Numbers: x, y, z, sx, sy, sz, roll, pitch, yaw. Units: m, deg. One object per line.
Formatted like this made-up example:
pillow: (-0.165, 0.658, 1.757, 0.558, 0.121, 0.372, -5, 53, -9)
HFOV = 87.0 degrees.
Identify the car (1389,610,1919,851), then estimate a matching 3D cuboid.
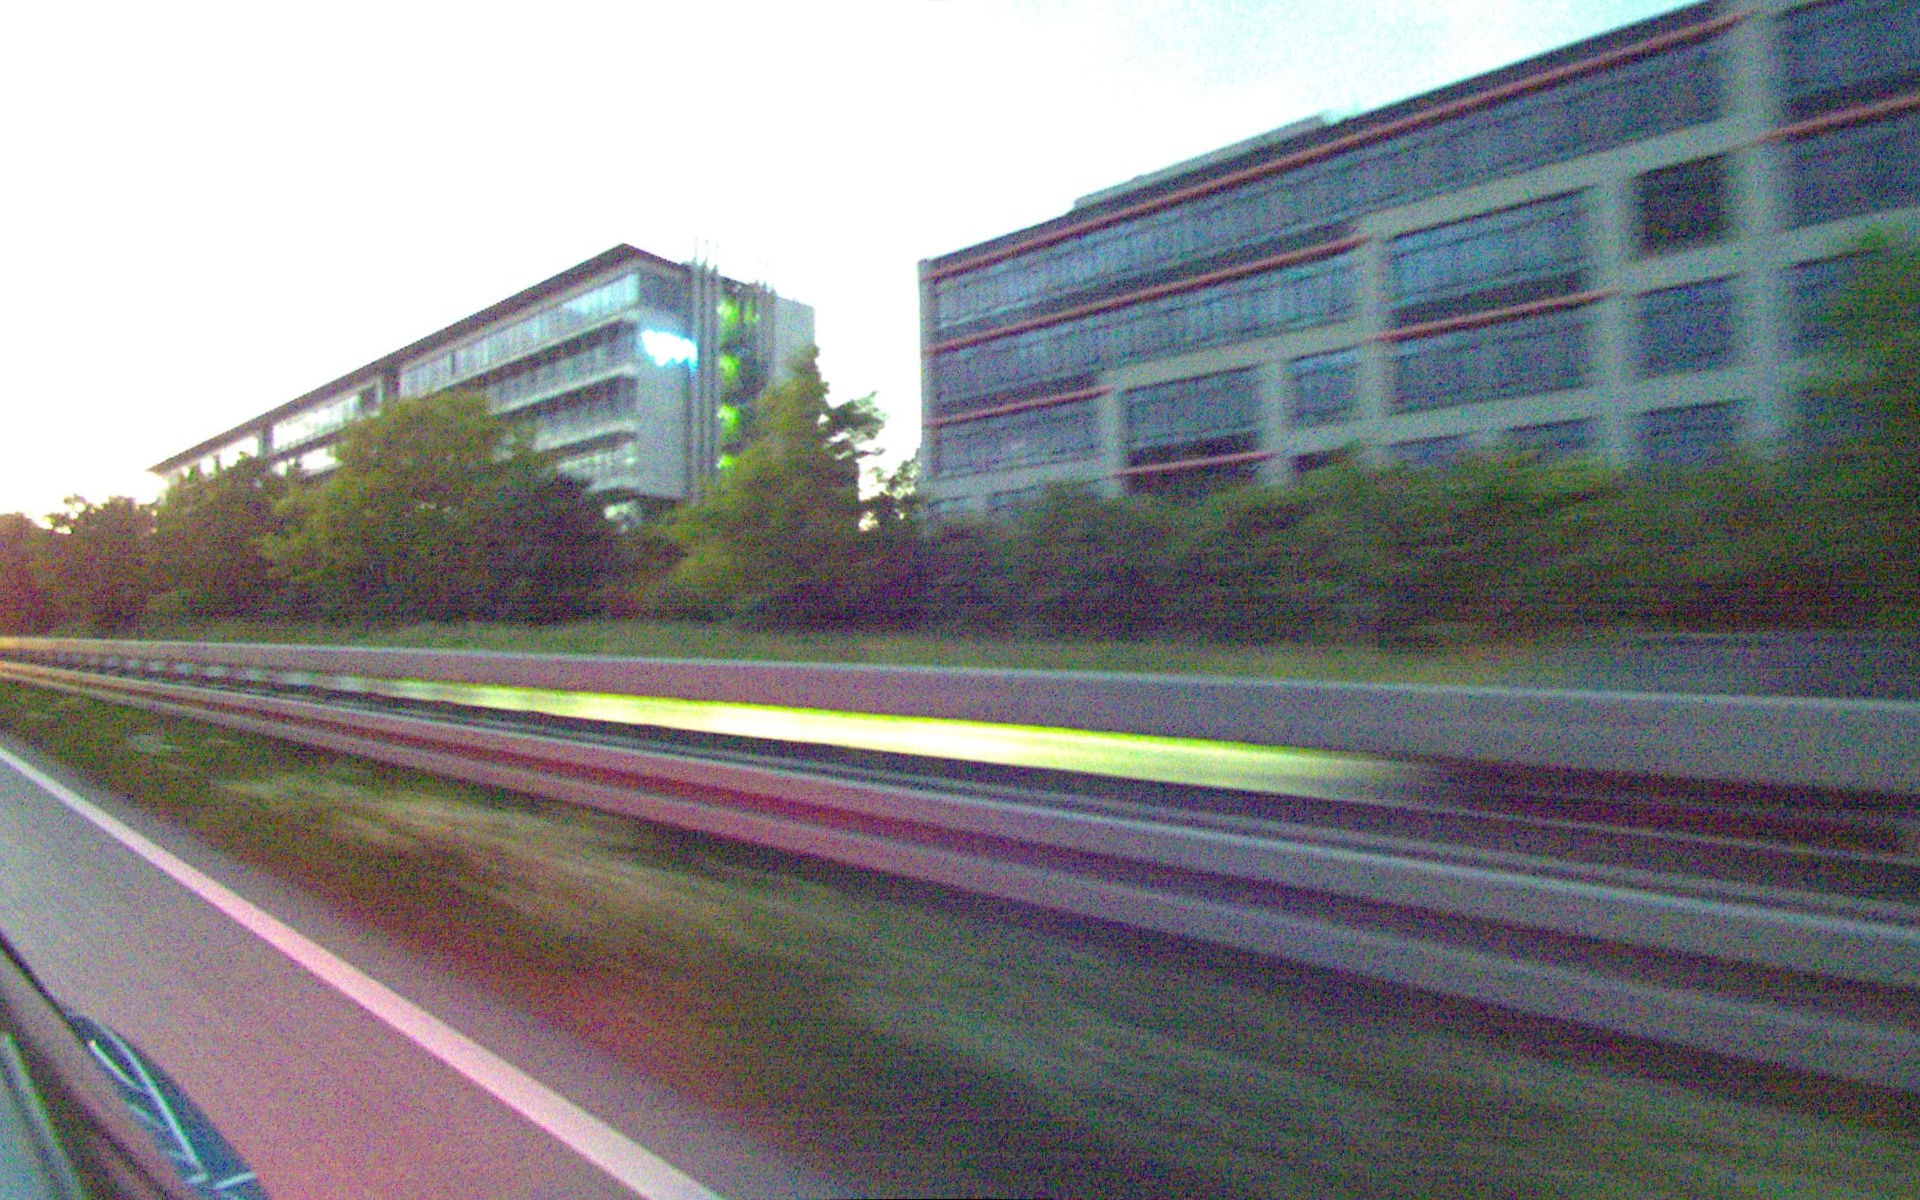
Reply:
car: (5.567, 0.881, 7.741, 3.842, 1.480, 1.816, -2, -4, 40)
